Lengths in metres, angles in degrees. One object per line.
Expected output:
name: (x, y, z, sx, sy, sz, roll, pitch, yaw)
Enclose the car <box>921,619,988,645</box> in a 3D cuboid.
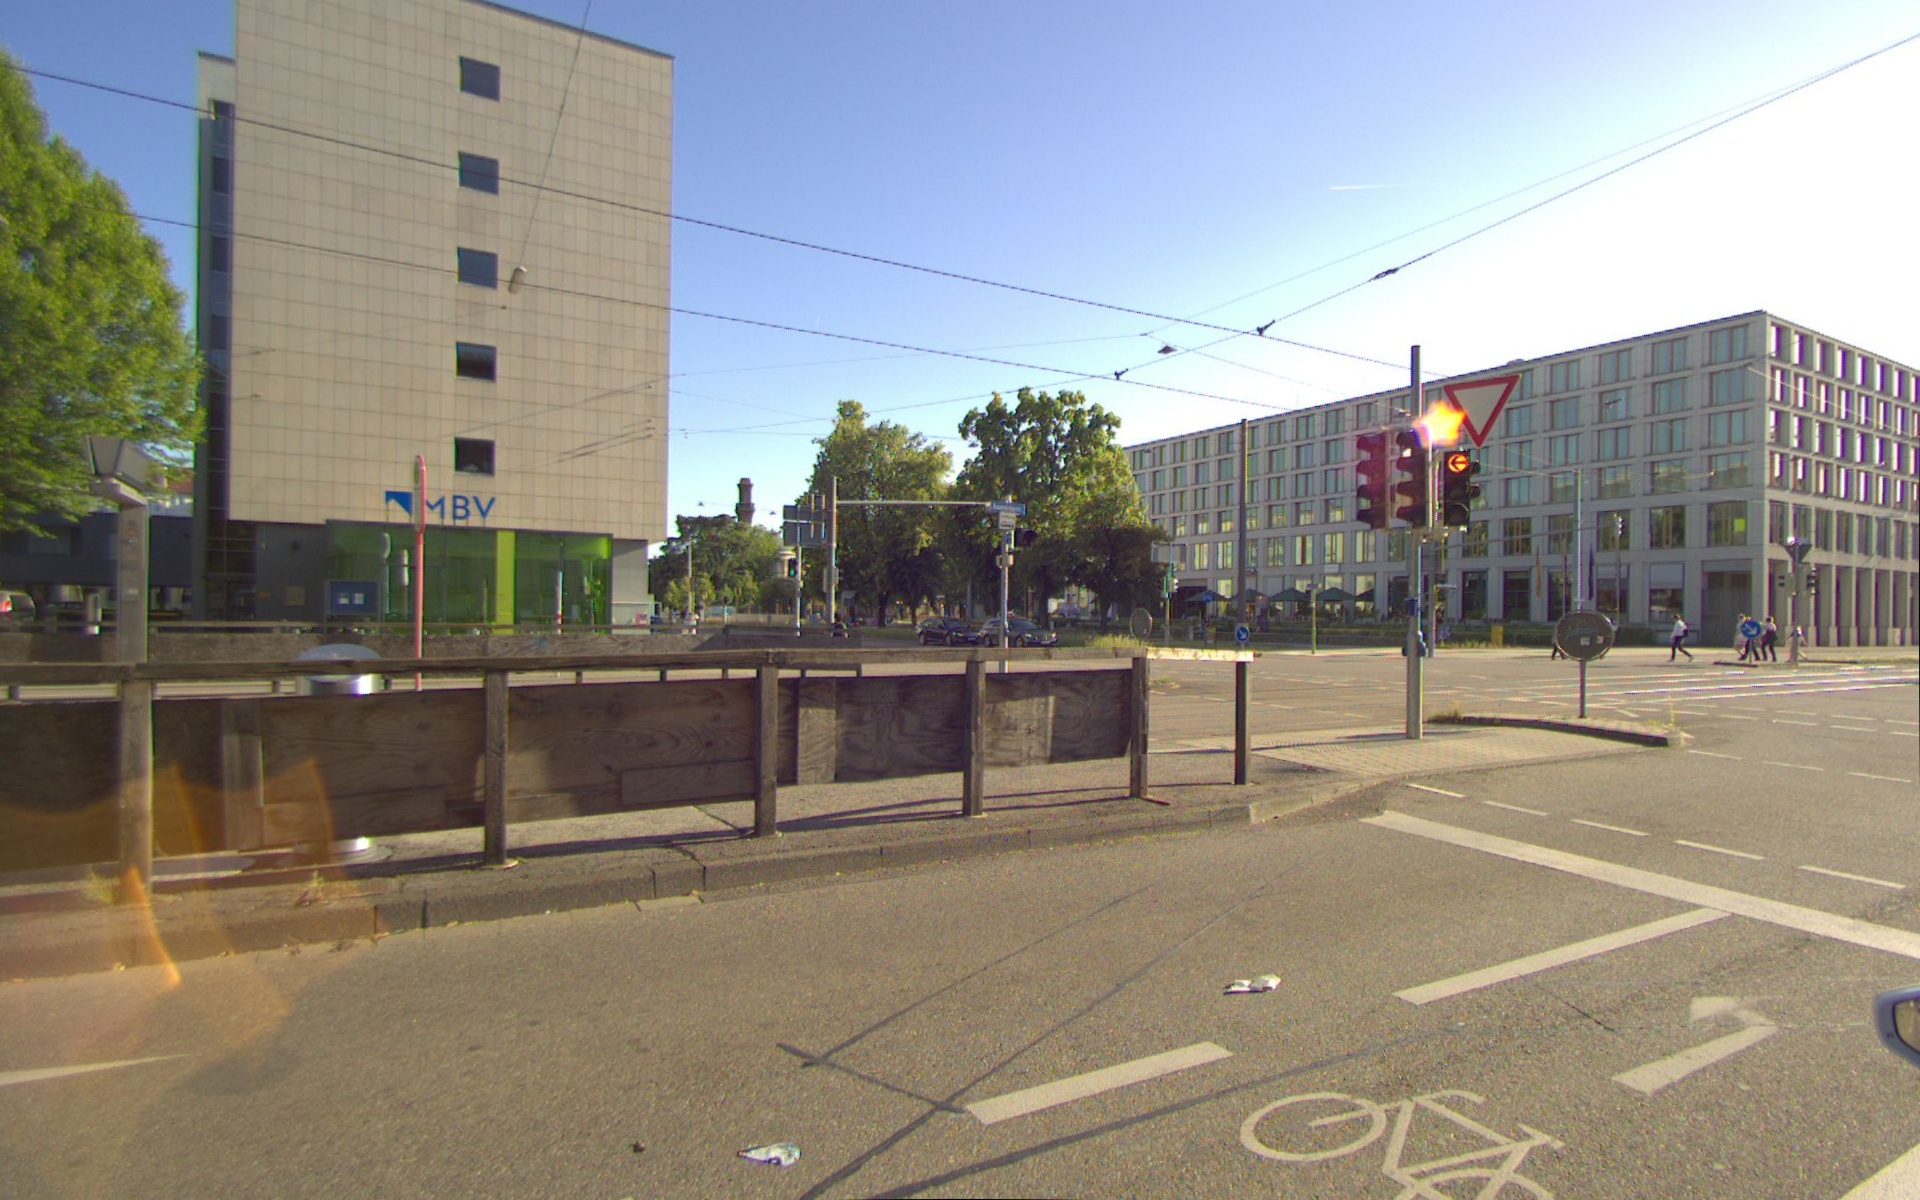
car: (-0.342, 1.682, 53.381, 1.755, 1.311, 4.209, 1, -1, -30)
